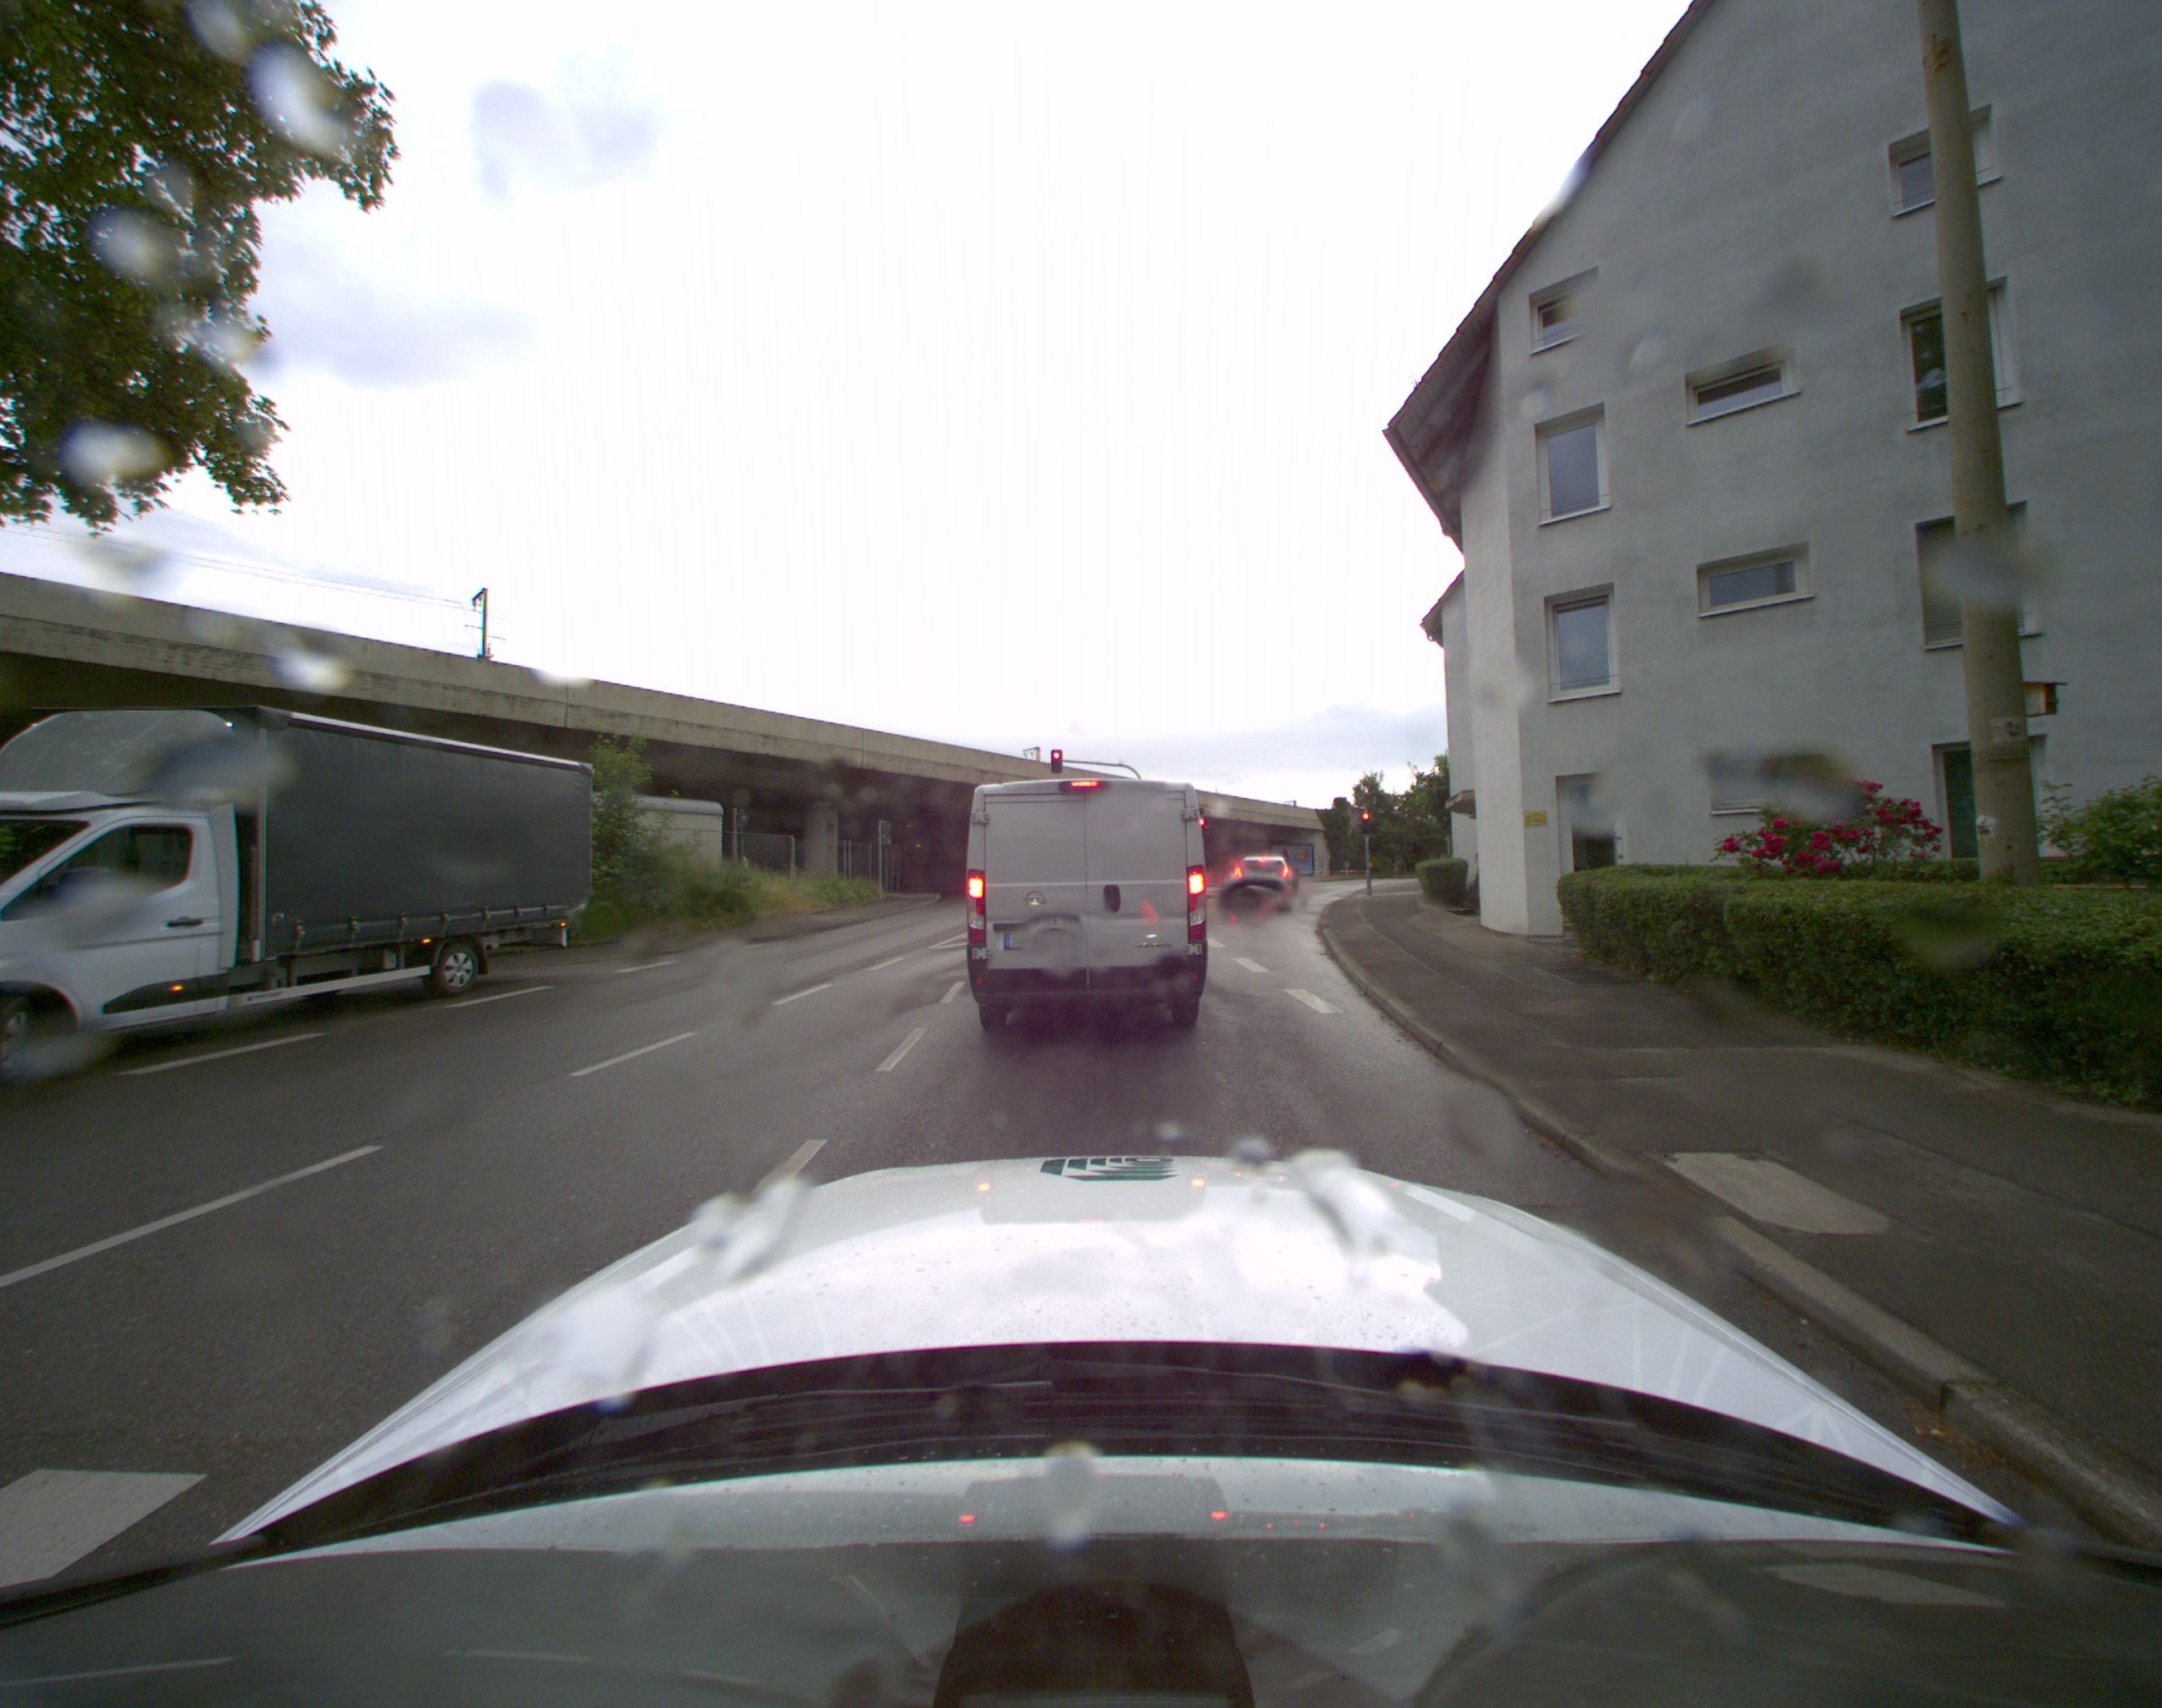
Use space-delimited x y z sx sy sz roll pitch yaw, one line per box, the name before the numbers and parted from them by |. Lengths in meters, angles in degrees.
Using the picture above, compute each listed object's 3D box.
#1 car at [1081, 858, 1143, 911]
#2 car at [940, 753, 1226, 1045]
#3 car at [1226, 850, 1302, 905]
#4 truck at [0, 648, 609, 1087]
car | 1.180 1.072 29.014 1.984 1.729 4.004 -1 -2 5
car | 0.038 0.380 9.307 2.297 2.343 5.282 -1 0 0
car | 5.747 0.718 25.221 1.978 1.549 4.017 -2 -1 17
truck | -9.078 0.179 9.180 2.599 3.237 7.782 -1 -1 3
